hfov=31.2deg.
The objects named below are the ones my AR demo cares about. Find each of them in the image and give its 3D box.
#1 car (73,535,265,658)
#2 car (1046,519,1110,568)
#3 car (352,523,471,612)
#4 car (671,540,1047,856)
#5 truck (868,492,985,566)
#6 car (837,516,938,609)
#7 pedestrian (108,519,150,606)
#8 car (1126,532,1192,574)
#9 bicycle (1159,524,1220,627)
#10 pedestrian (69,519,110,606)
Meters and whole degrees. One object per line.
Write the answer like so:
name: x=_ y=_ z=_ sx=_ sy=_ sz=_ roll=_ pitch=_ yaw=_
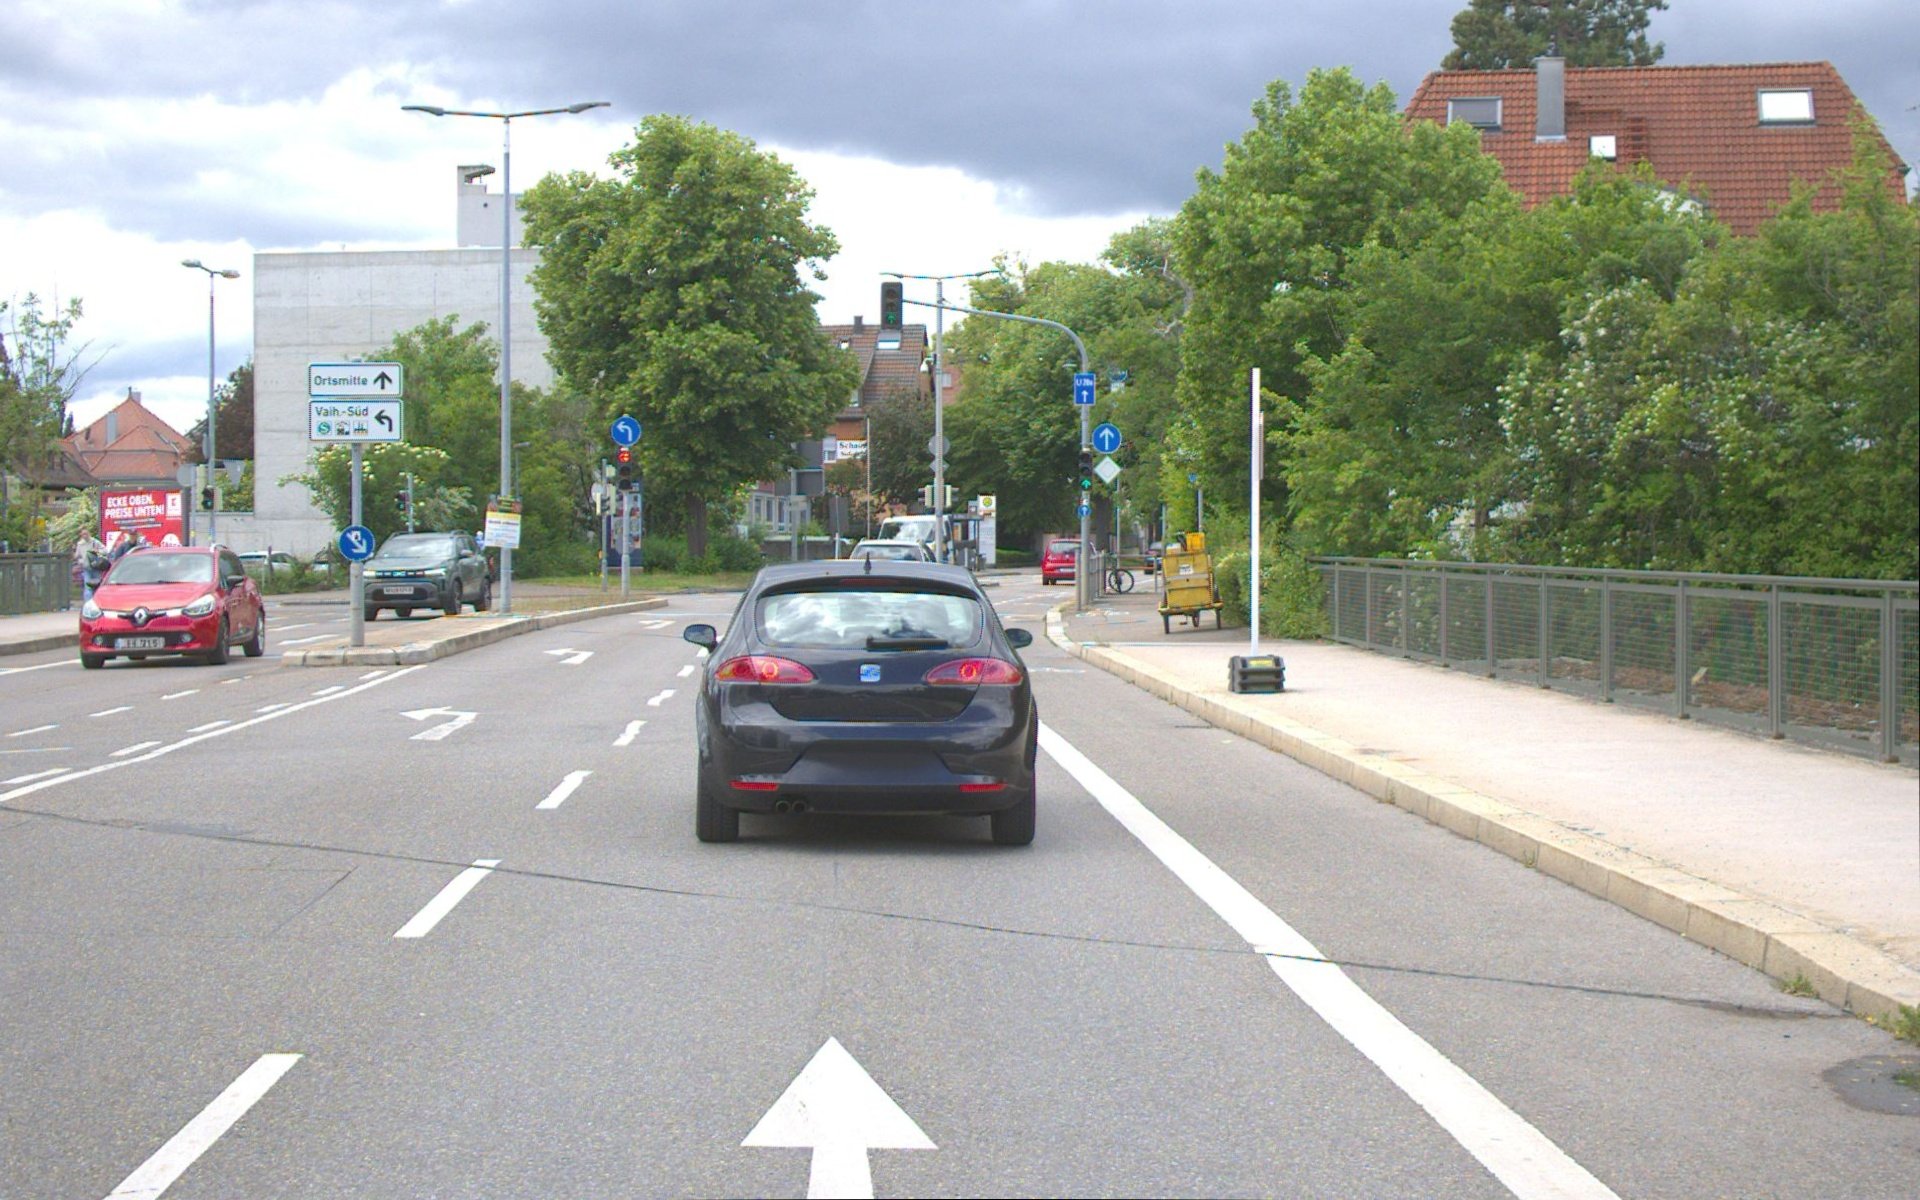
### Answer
car: x=-9.823 y=-0.076 z=42.940 sx=1.720 sy=1.443 sz=4.067 roll=1 pitch=1 yaw=-4
car: x=3.685 y=-1.797 z=107.899 sx=1.941 sy=1.476 sz=4.253 roll=-1 pitch=1 yaw=2
car: x=-10.319 y=-0.636 z=64.882 sx=1.822 sy=1.621 sz=4.279 roll=0 pitch=1 yaw=-4
car: x=-0.446 y=0.443 z=18.535 sx=1.759 sy=1.444 sz=3.714 roll=2 pitch=2 yaw=2
truck: x=-1.024 y=-2.274 z=110.375 sx=2.127 sy=2.257 sz=6.802 roll=0 pitch=1 yaw=14
car: x=-1.351 y=-0.742 z=65.279 sx=1.819 sy=1.693 sz=4.253 roll=-1 pitch=1 yaw=0
pedestrian: x=-15.869 y=-0.723 z=65.674 sx=0.656 sy=1.628 sz=1.071 roll=1 pitch=1 yaw=-8
car: x=8.167 y=-1.937 z=140.762 sx=1.995 sy=1.678 sz=3.997 roll=0 pitch=1 yaw=14
bicycle: x=3.504 y=-0.395 z=52.523 sx=0.891 sy=1.505 sz=2.783 roll=-1 pitch=1 yaw=4
pedestrian: x=-16.596 y=-0.717 z=65.545 sx=0.656 sy=1.628 sz=0.833 roll=1 pitch=1 yaw=-8
